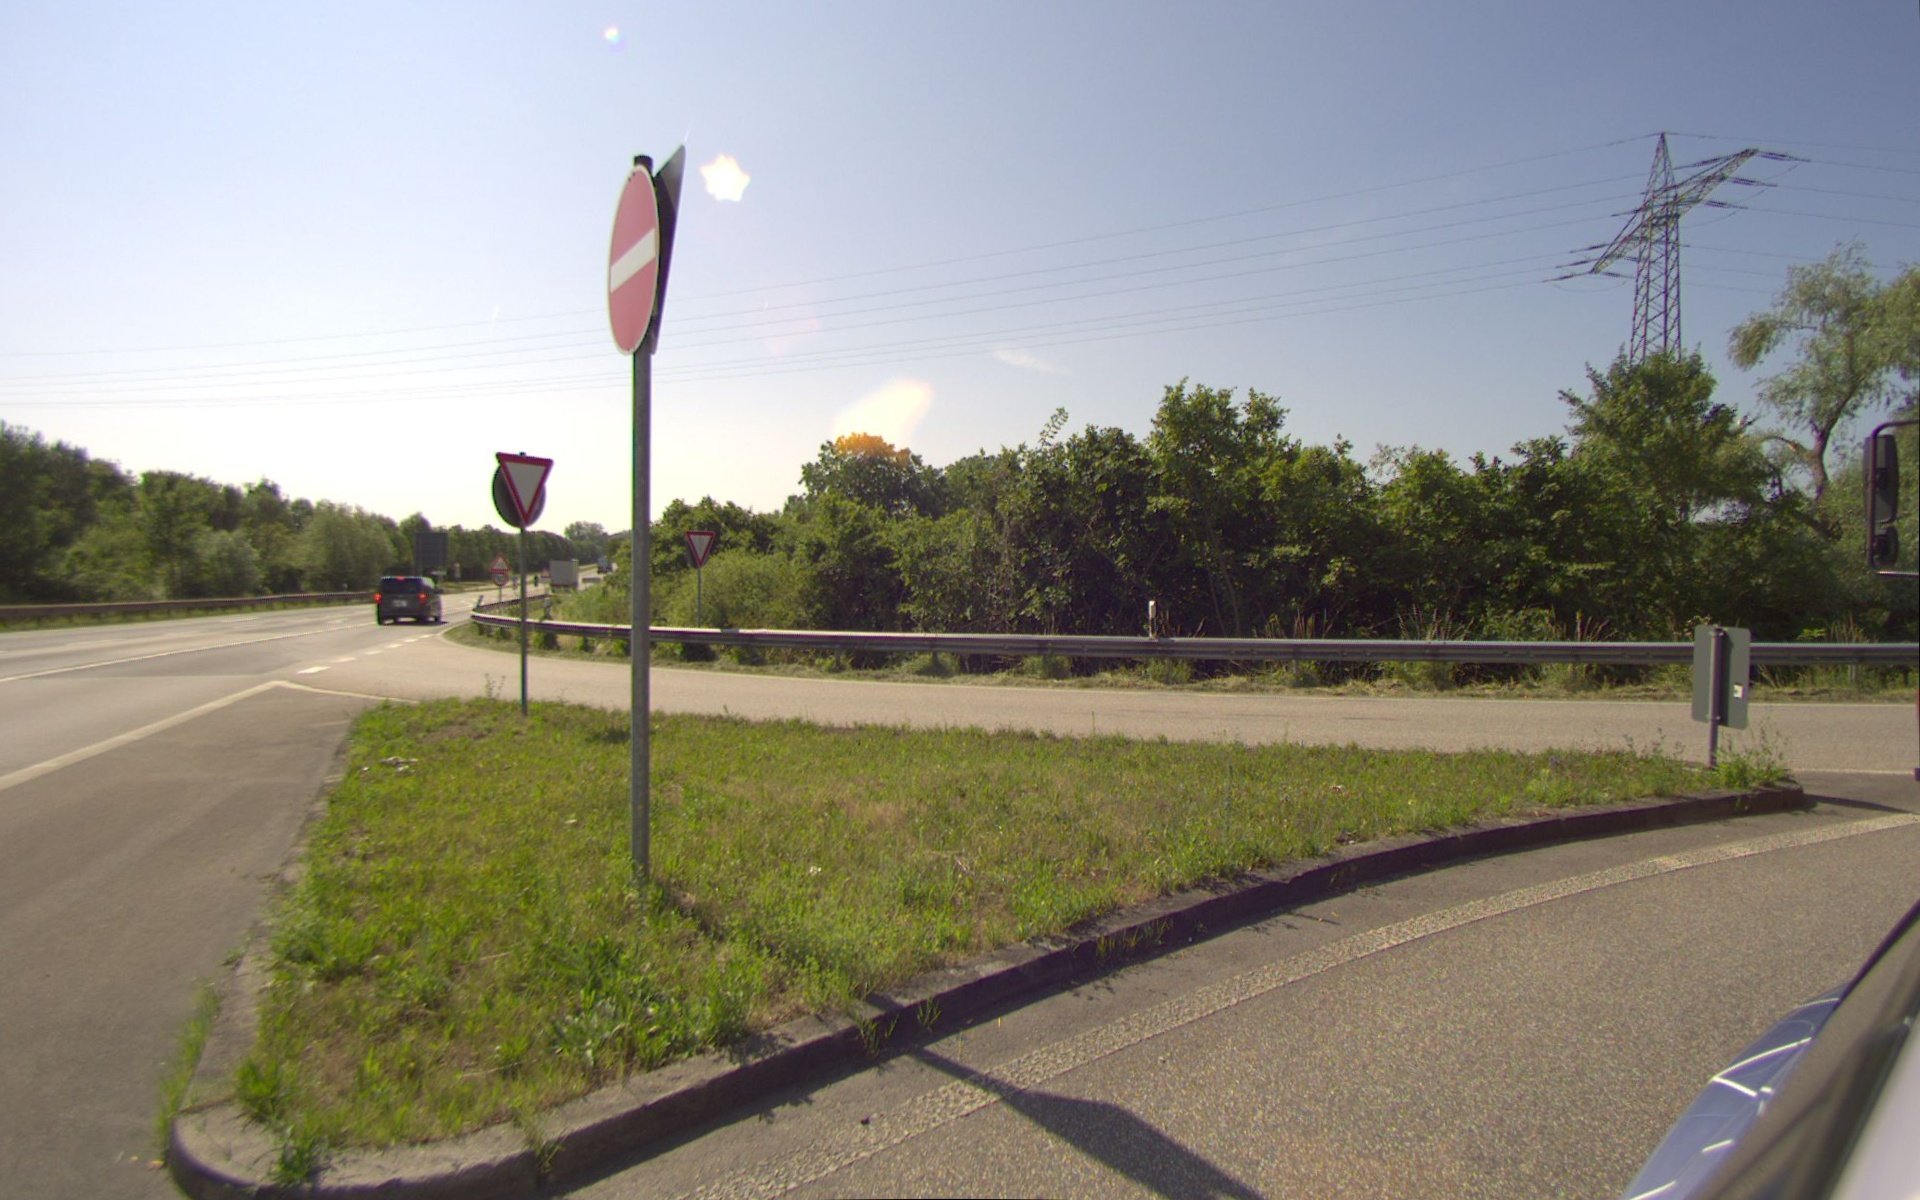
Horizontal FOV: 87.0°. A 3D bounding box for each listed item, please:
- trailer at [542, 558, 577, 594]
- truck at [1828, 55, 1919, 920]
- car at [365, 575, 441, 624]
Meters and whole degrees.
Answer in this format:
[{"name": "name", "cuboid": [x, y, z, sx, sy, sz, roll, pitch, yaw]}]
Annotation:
[{"name": "trailer", "cuboid": [-49.532, -3.000, 125.573, 2.868, 4.060, 13.447, 2, 1, -17]}, {"name": "truck", "cuboid": [8.659, -0.471, 5.298, 9.070, 3.707, 2.696, 0, 0, -25]}, {"name": "car", "cuboid": [-22.974, -0.030, 41.932, 1.958, 1.903, 5.004, 0, 0, -20]}]
